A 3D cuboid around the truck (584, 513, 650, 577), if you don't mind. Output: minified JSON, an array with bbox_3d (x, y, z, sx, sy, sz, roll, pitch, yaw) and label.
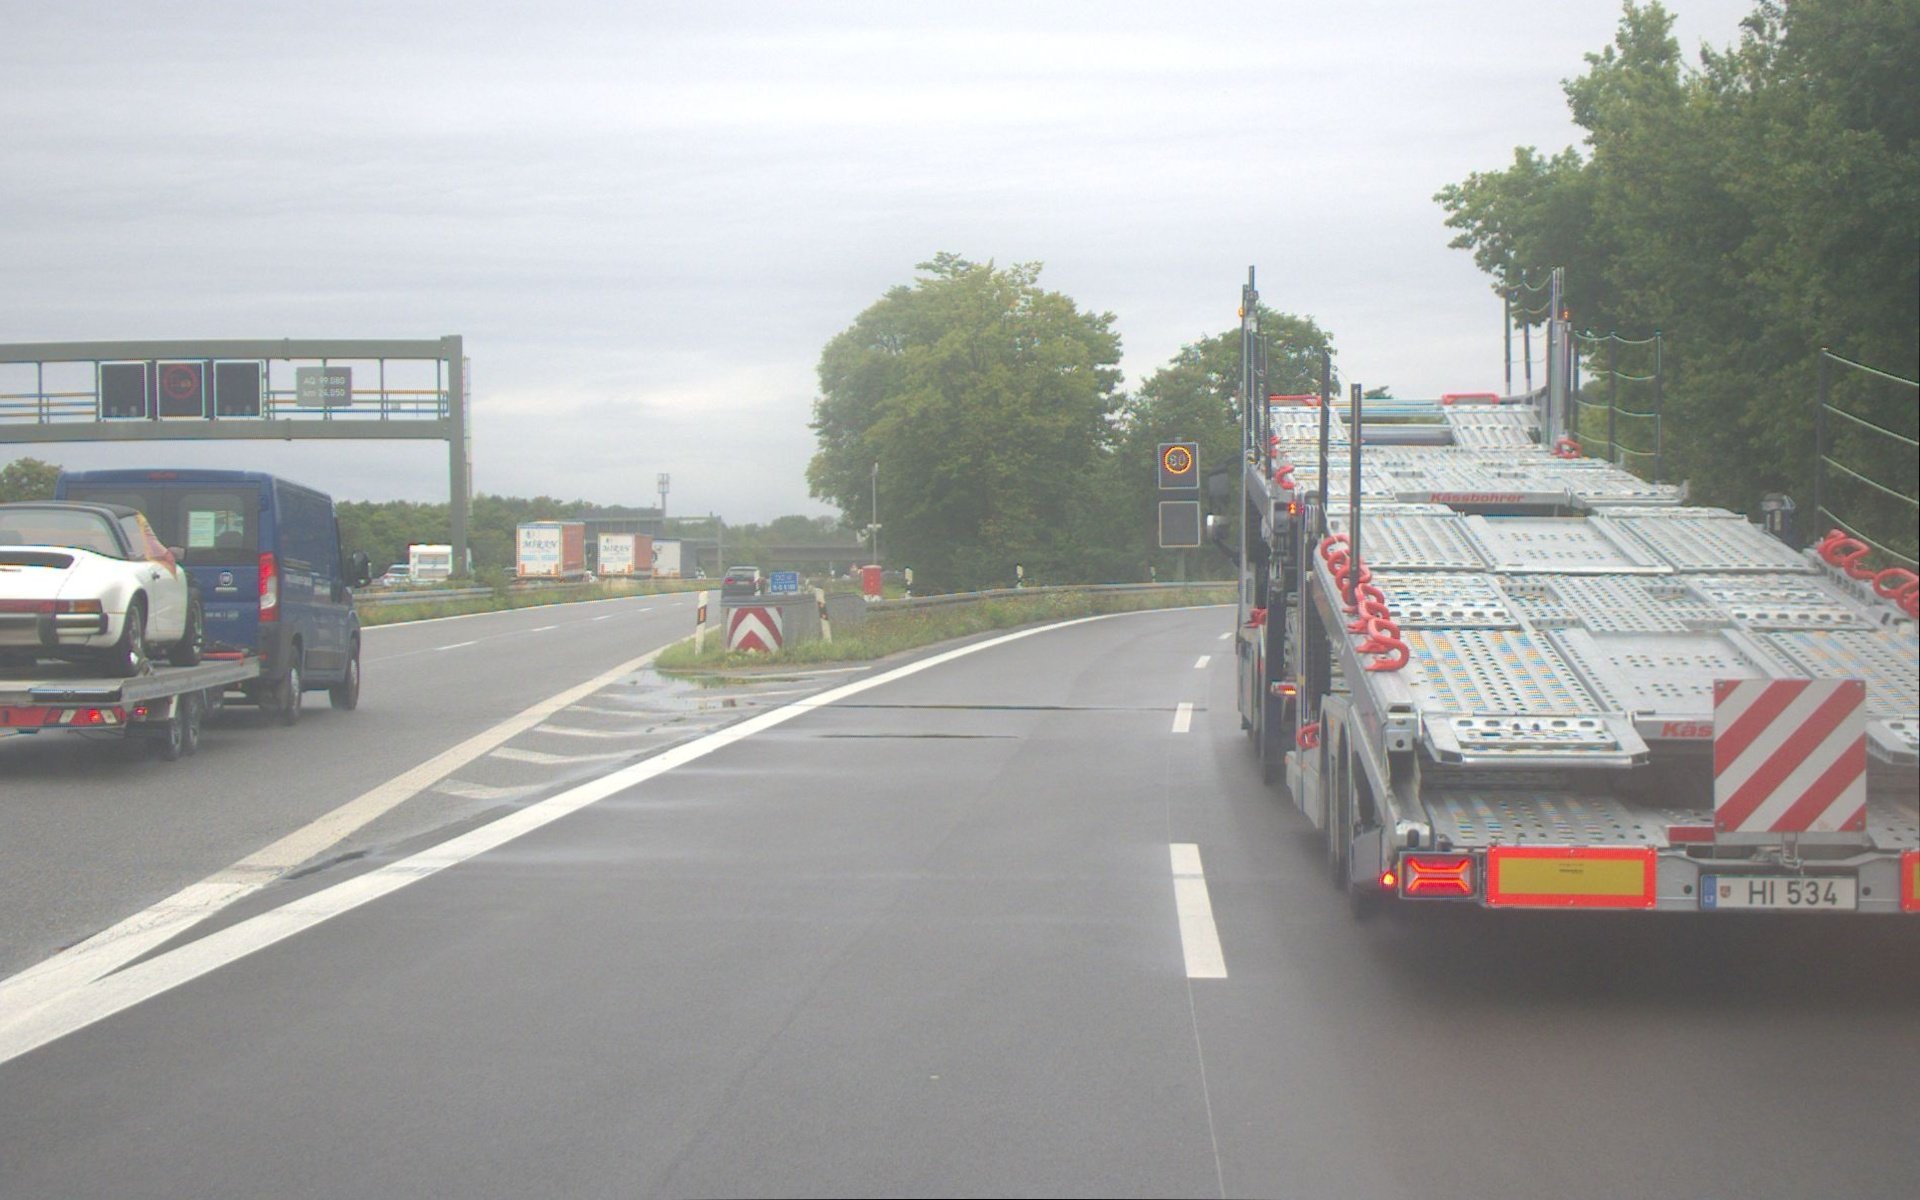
[{"bbox_3d":[-24.416,-3.928,245.392,3.733,4.402,11.898,1,1,-1],"label":"truck"}]

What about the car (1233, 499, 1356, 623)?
[{"bbox_3d":[6.412,-0.753,65.471,2.111,2.257,5.895,0,1,8],"label":"car"}]

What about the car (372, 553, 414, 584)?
[{"bbox_3d":[-28.316,-1.574,171.722,1.682,1.525,4.001,1,1,-4],"label":"car"}]

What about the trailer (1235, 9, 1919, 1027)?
[{"bbox_3d":[2.908,-0.345,16.312,2.778,3.273,10.406,1,1,2],"label":"trailer"}]

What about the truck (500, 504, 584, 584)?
[{"bbox_3d":[-23.905,-3.206,197.185,3.733,4.402,10.196,1,1,-1],"label":"truck"}]

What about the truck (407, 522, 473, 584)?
[{"bbox_3d":[-23.152,-2.109,153.165,2.243,2.695,5.280,1,1,-1],"label":"truck"}]

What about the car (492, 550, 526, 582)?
[{"bbox_3d":[-28.847,-2.155,220.095,1.729,2.007,4.000,1,0,-2],"label":"car"}]

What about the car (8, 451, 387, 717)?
[{"bbox_3d":[-7.086,-0.174,32.720,2.372,2.259,6.257,1,1,-2],"label":"car"}]

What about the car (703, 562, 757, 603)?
[{"bbox_3d":[-9.471,-0.733,141.915,1.961,1.632,5.625,1,0,-2],"label":"car"}]

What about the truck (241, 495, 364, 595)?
[{"bbox_3d":[-22.864,-1.908,119.992,2.856,3.353,8.632,0,1,-1],"label":"truck"}]

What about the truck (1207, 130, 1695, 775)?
[{"bbox_3d":[3.394,-1.003,26.098,2.739,3.954,9.128,2,1,3],"label":"truck"}]

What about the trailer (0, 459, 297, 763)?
[{"bbox_3d":[-6.861,0.017,26.092,2.484,1.988,7.064,1,1,-2],"label":"trailer"}]
